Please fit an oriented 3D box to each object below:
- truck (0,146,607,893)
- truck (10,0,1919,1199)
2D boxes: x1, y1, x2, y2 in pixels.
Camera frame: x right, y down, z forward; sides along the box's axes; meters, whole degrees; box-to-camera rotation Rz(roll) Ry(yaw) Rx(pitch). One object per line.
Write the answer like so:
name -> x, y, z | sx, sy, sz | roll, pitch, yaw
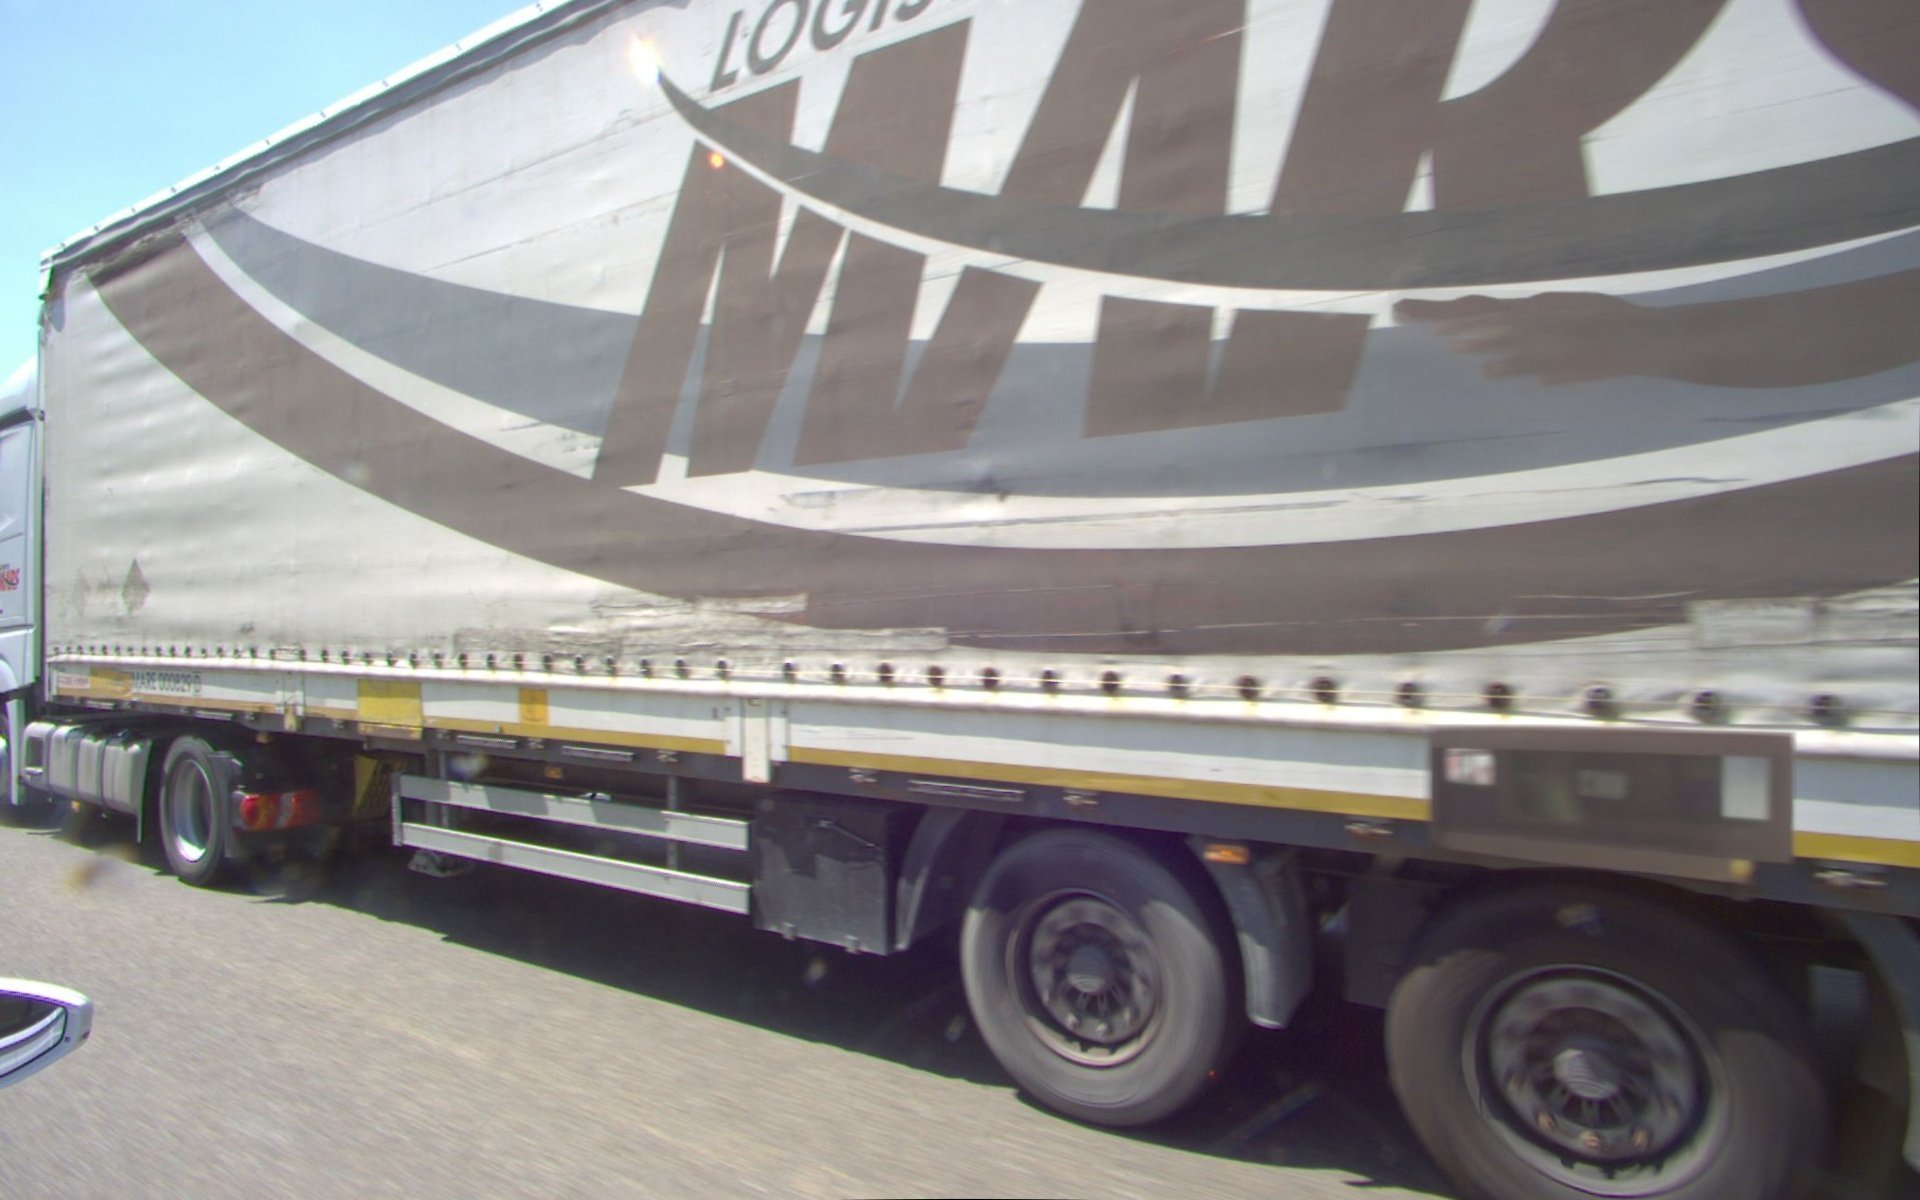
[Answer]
truck -> -5.900, -0.357, 8.158 | 5.670, 4.120, 2.715 | -1, -1, 31
truck -> -0.139, -0.522, 4.659 | 13.541, 4.120, 2.722 | -2, -1, 31
